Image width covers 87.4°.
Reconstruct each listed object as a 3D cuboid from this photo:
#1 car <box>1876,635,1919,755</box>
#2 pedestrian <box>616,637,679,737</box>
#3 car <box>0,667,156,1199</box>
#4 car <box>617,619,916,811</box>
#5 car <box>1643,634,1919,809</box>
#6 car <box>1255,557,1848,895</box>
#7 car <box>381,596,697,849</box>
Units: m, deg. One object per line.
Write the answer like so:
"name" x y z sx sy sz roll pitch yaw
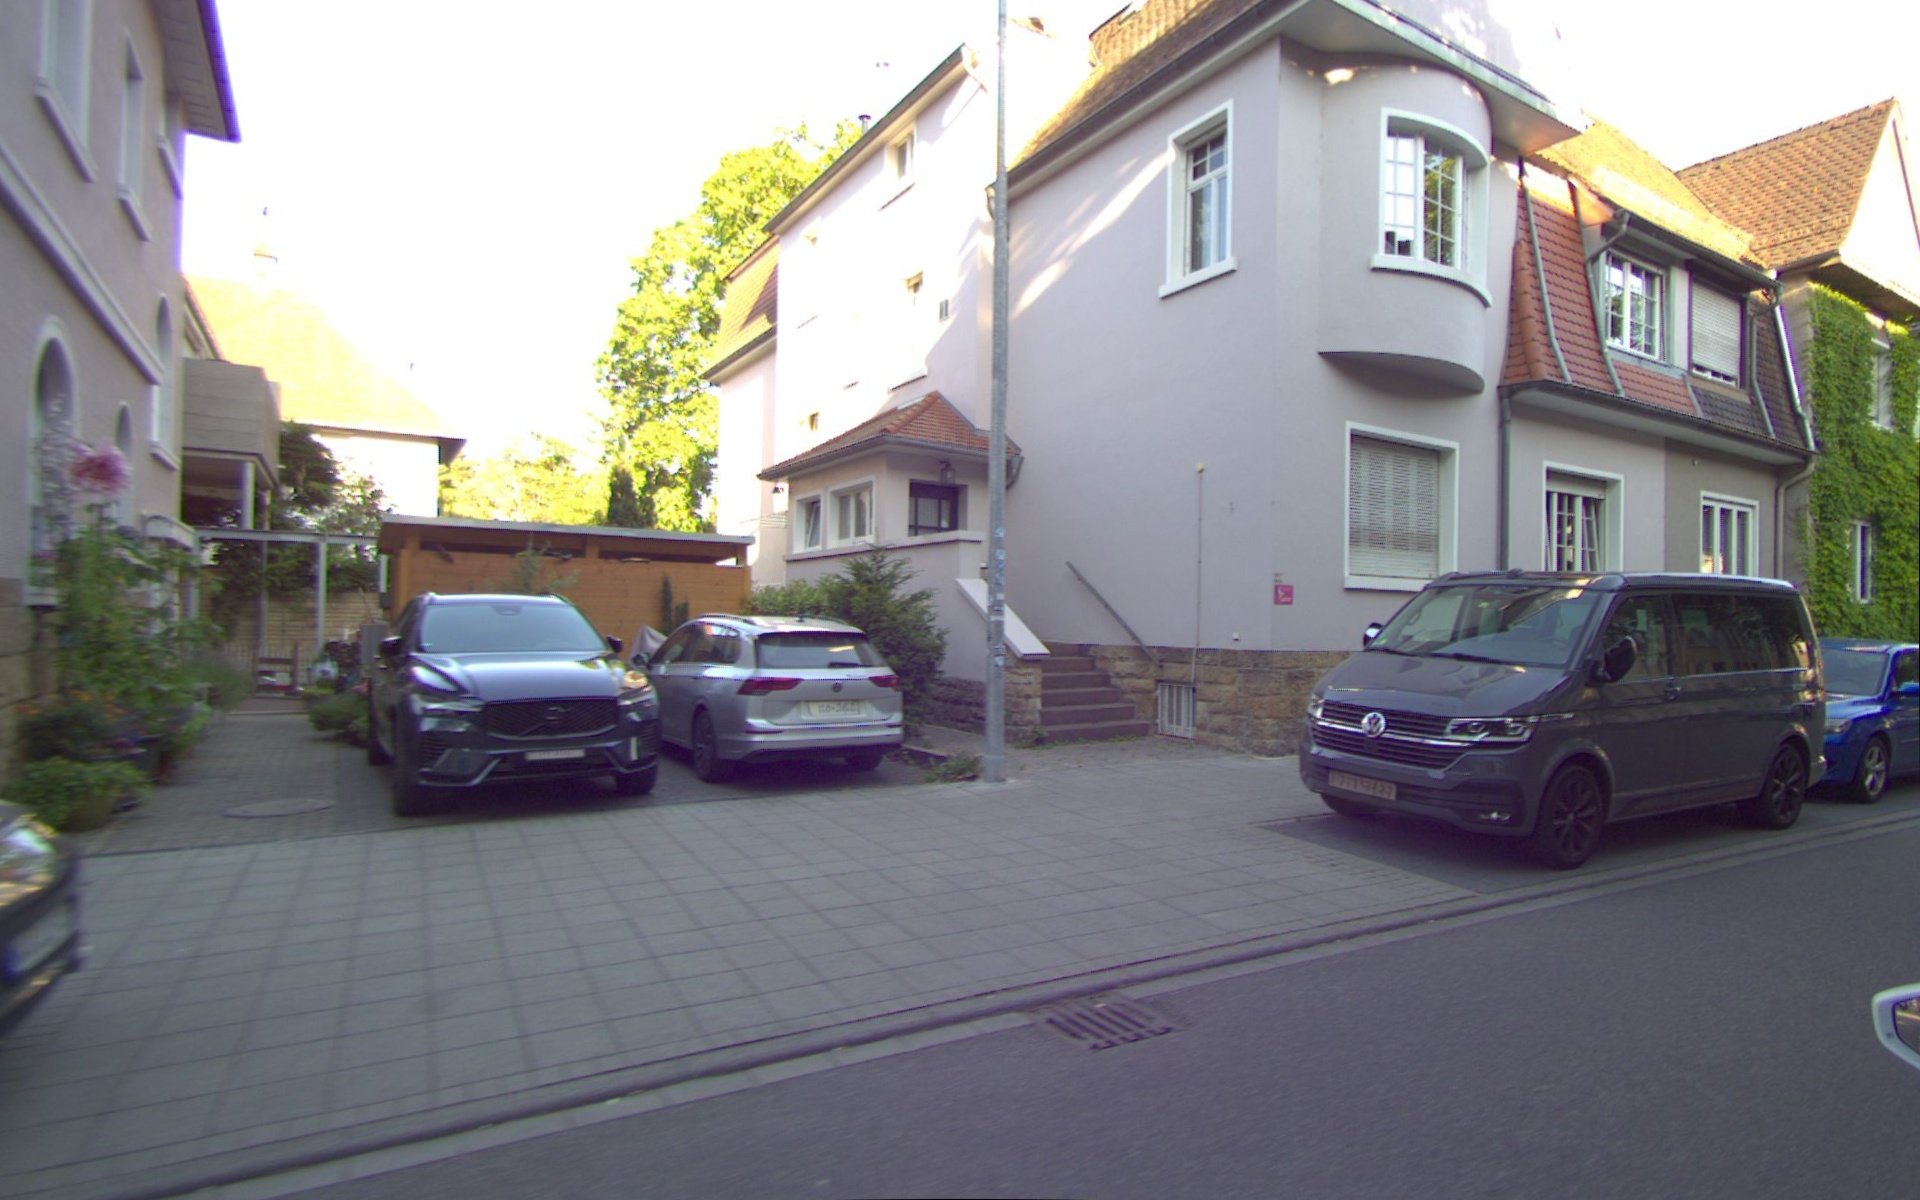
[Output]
"car" 14.030 1.234 13.212 4.305 1.466 1.687 1 0 -30
"pedestrian" -3.941 1.078 12.664 0.561 1.217 0.609 2 -2 -42
"car" -4.543 0.897 2.134 4.172 1.336 1.525 1 0 -27
"car" -2.103 0.950 10.020 1.617 1.463 3.840 1 0 -33
"car" 9.227 1.132 10.608 4.187 1.466 1.646 1 1 -30
"car" 4.789 0.766 7.943 4.795 1.973 1.972 1 0 -31
"car" -3.813 0.811 8.682 1.877 1.643 3.840 1 0 -33
